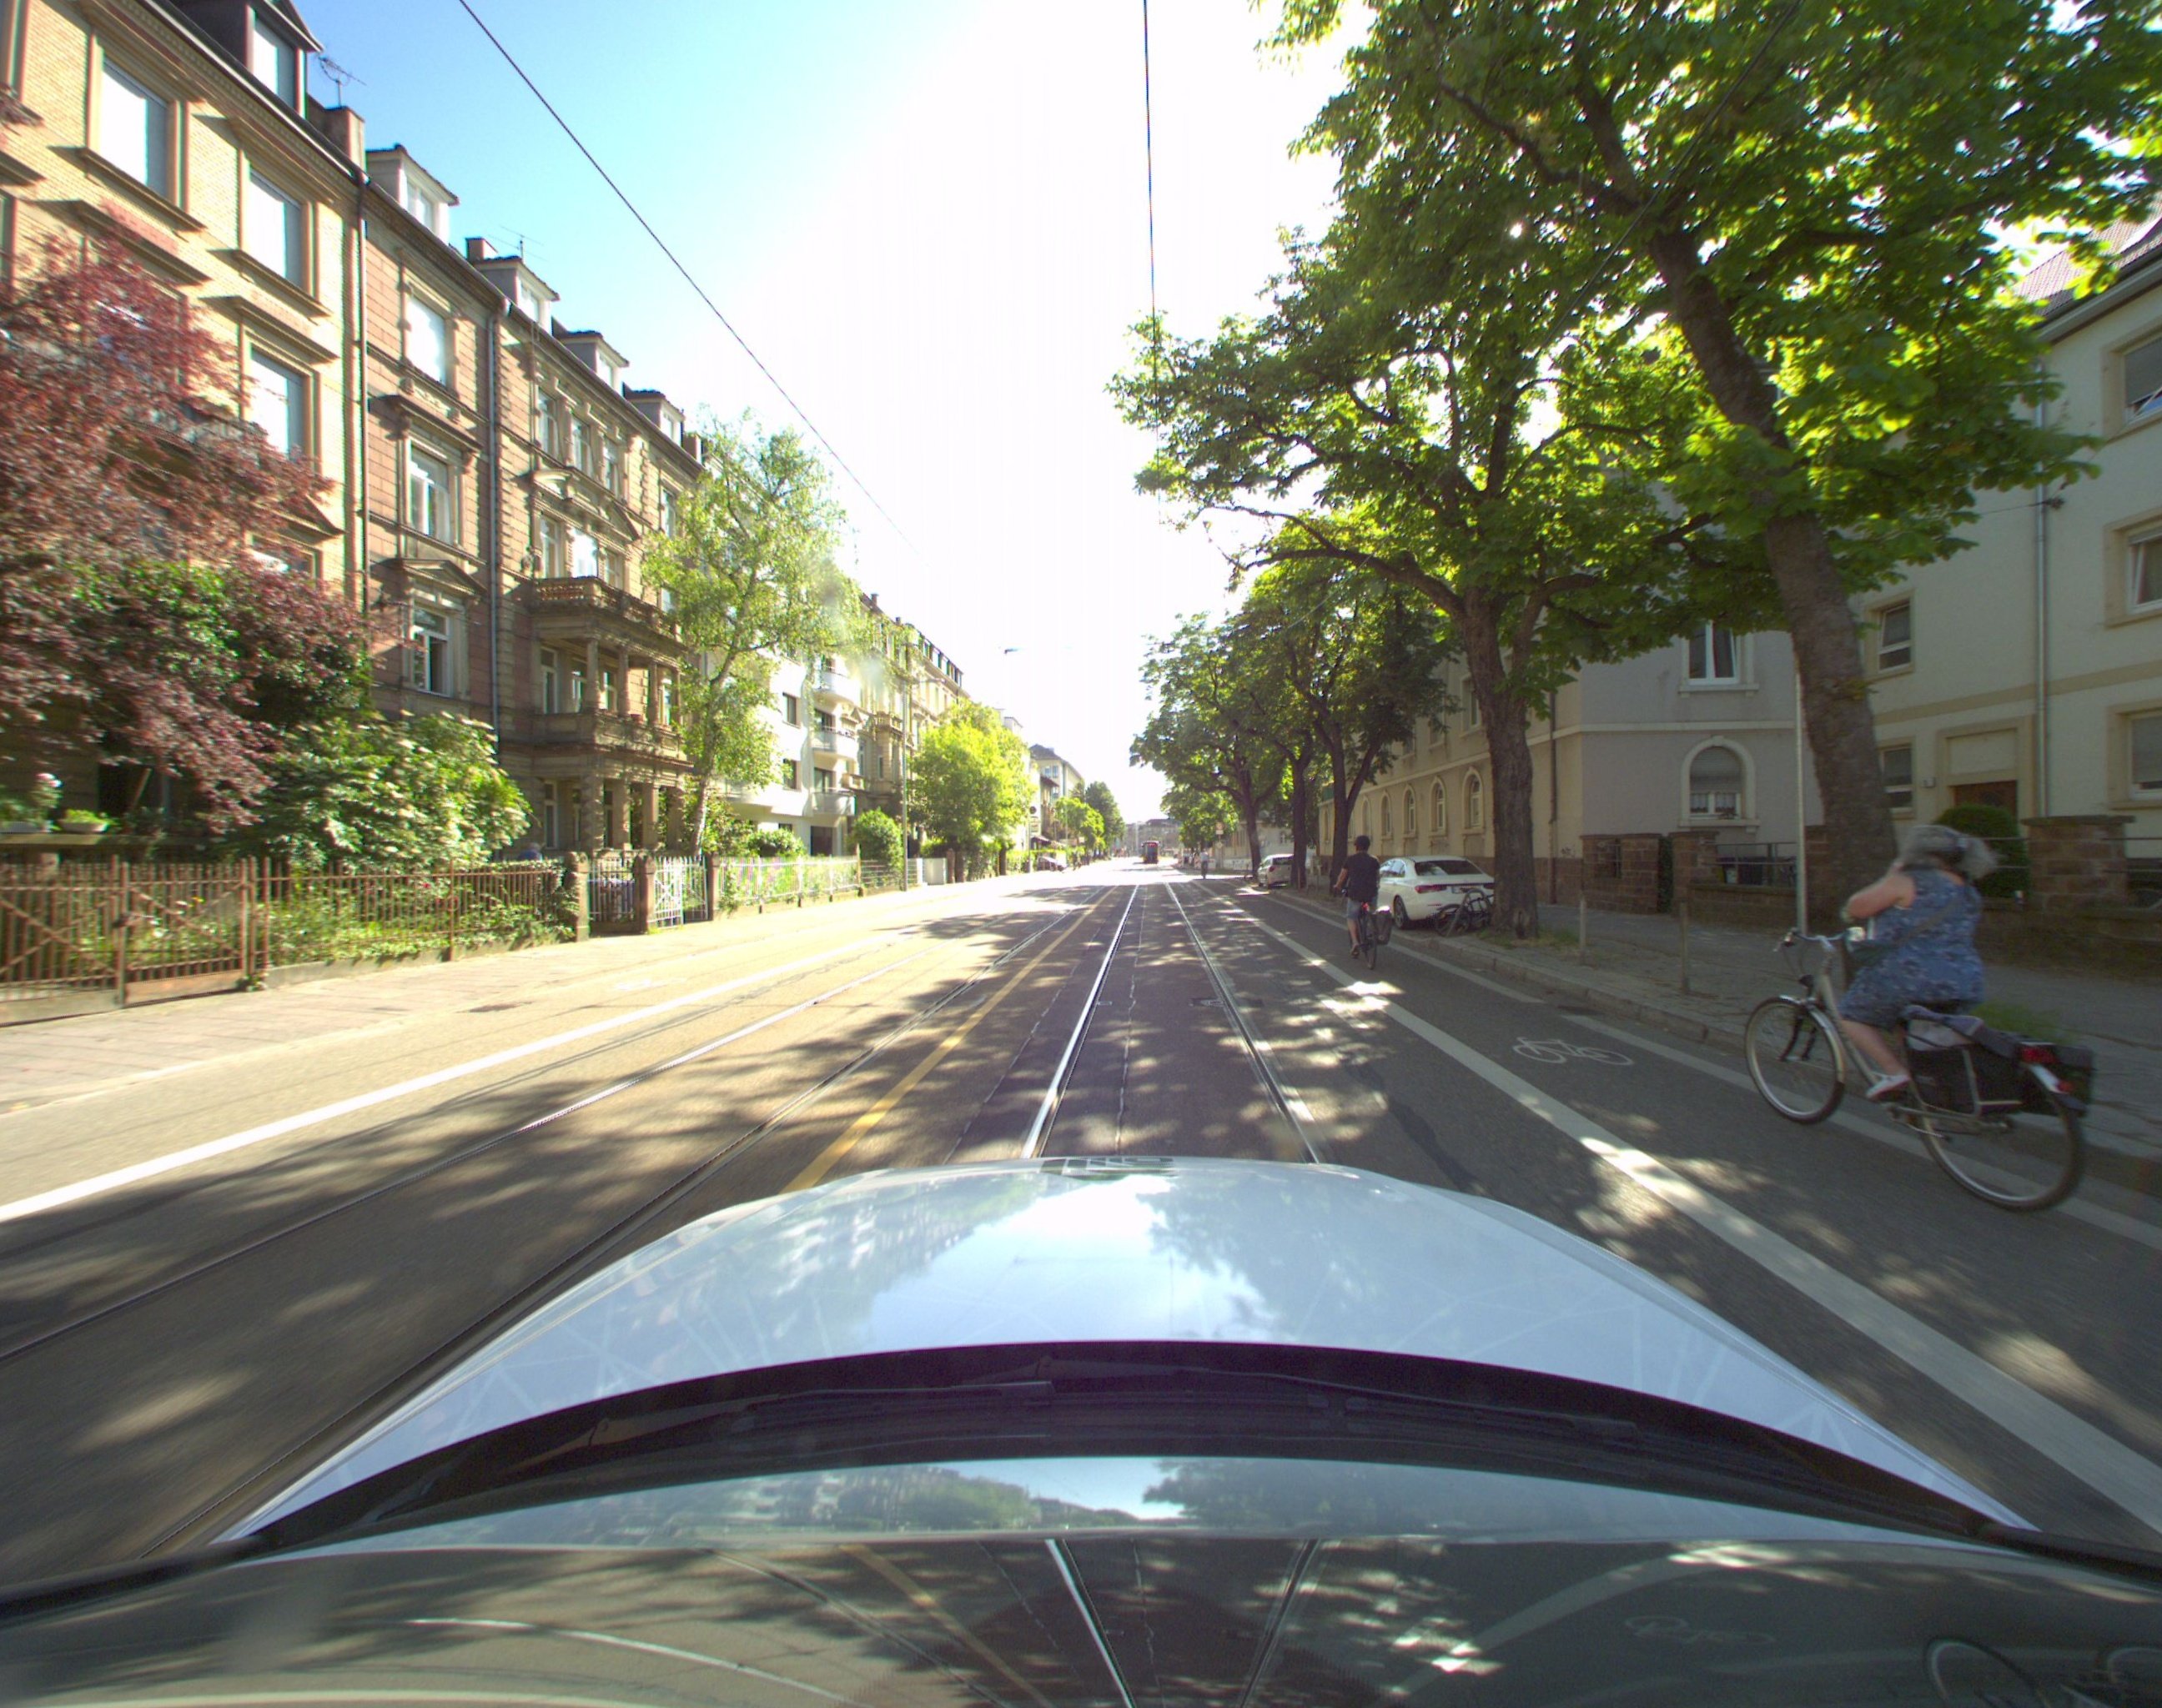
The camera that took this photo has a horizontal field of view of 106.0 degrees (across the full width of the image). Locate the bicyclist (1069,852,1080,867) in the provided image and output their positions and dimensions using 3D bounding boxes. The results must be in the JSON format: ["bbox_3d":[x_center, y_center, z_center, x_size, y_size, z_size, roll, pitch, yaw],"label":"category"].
[{"bbox_3d":[-0.555,0.482,72.126,0.765,1.291,0.737,1,0,21],"label":"bicyclist"}]

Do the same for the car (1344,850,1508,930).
[{"bbox_3d":[7.142,0.650,17.426,1.622,1.436,4.667,-2,0,2],"label":"car"}]

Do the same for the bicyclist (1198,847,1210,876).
[{"bbox_3d":[7.678,0.445,50.897,0.642,1.796,0.957,0,0,4],"label":"bicyclist"}]

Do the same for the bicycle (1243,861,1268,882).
[{"bbox_3d":[8.915,0.904,41.610,1.261,1.024,0.706,1,-1,12],"label":"bicycle"}]

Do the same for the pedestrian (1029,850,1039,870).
[{"bbox_3d":[-4.077,0.483,70.813,0.766,1.712,0.670,0,0,5],"label":"pedestrian"}]

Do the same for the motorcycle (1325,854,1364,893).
[{"bbox_3d":[8.834,0.639,27.402,0.706,1.243,2.187,-2,0,4],"label":"motorcycle"}]

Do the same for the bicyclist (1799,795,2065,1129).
[{"bbox_3d":[4.039,0.471,3.915,0.632,1.468,0.616,0,0,5],"label":"bicyclist"}]

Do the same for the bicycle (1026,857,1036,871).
[{"bbox_3d":[-4.162,0.831,67.759,0.633,1.069,1.824,0,0,-12],"label":"bicycle"}]

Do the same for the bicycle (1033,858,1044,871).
[{"bbox_3d":[-3.604,0.915,68.812,0.633,1.069,1.823,0,0,-13],"label":"bicycle"}]

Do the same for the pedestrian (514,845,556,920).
[{"bbox_3d":[-12.365,0.630,18.442,0.511,1.673,0.608,0,0,4],"label":"pedestrian"}]

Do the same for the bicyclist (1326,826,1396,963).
[{"bbox_3d":[3.911,0.539,11.433,0.724,1.848,0.837,0,0,4],"label":"bicyclist"}]

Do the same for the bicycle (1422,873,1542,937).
[{"bbox_3d":[7.162,0.905,14.596,1.784,1.019,0.621,-3,0,4],"label":"bicycle"}]

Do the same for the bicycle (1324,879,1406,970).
[{"bbox_3d":[3.960,0.943,11.494,0.688,1.112,1.721,0,0,5],"label":"bicycle"}]

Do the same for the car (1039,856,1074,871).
[{"bbox_3d":[-2.441,0.934,79.730,1.767,1.420,3.540,0,-2,-36],"label":"car"}]

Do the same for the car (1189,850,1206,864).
[{"bbox_3d":[13.424,0.318,93.822,1.746,1.552,3.682,0,0,4],"label":"car"}]

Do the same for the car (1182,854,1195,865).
[{"bbox_3d":[15.697,0.854,118.762,1.746,1.552,3.682,0,0,4],"label":"car"}]

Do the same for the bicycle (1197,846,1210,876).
[{"bbox_3d":[7.749,0.423,51.548,0.659,1.859,2.264,0,0,6],"label":"bicycle"}]

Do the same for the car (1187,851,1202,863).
[{"bbox_3d":[14.266,0.346,102.411,1.746,1.552,3.682,0,0,4],"label":"car"}]

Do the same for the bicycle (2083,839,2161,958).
[{"bbox_3d":[11.327,0.460,8.375,0.432,1.223,1.375,0,0,5],"label":"bicycle"}]

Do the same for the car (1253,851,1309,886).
[{"bbox_3d":[8.770,0.595,36.078,1.741,1.420,4.005,-2,0,4],"label":"car"}]

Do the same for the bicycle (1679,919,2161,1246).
[{"bbox_3d":[4.049,0.975,4.173,0.688,1.112,1.920,0,0,5],"label":"bicycle"}]

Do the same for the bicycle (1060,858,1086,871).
[{"bbox_3d":[-0.720,0.913,72.287,2.121,1.171,0.806,1,0,19],"label":"bicycle"}]

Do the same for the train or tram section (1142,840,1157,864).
[{"bbox_3d":[10.407,-0.316,123.421,2.143,3.431,6.619,0,0,5],"label":"train or tram section"}]

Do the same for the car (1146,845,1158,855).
[{"bbox_3d":[13.631,-0.767,156.449,1.986,2.013,4.002,0,0,2],"label":"car"}]

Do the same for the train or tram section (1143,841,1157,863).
[{"bbox_3d":[10.943,-0.370,130.059,2.143,3.431,6.619,0,0,5],"label":"train or tram section"}]
